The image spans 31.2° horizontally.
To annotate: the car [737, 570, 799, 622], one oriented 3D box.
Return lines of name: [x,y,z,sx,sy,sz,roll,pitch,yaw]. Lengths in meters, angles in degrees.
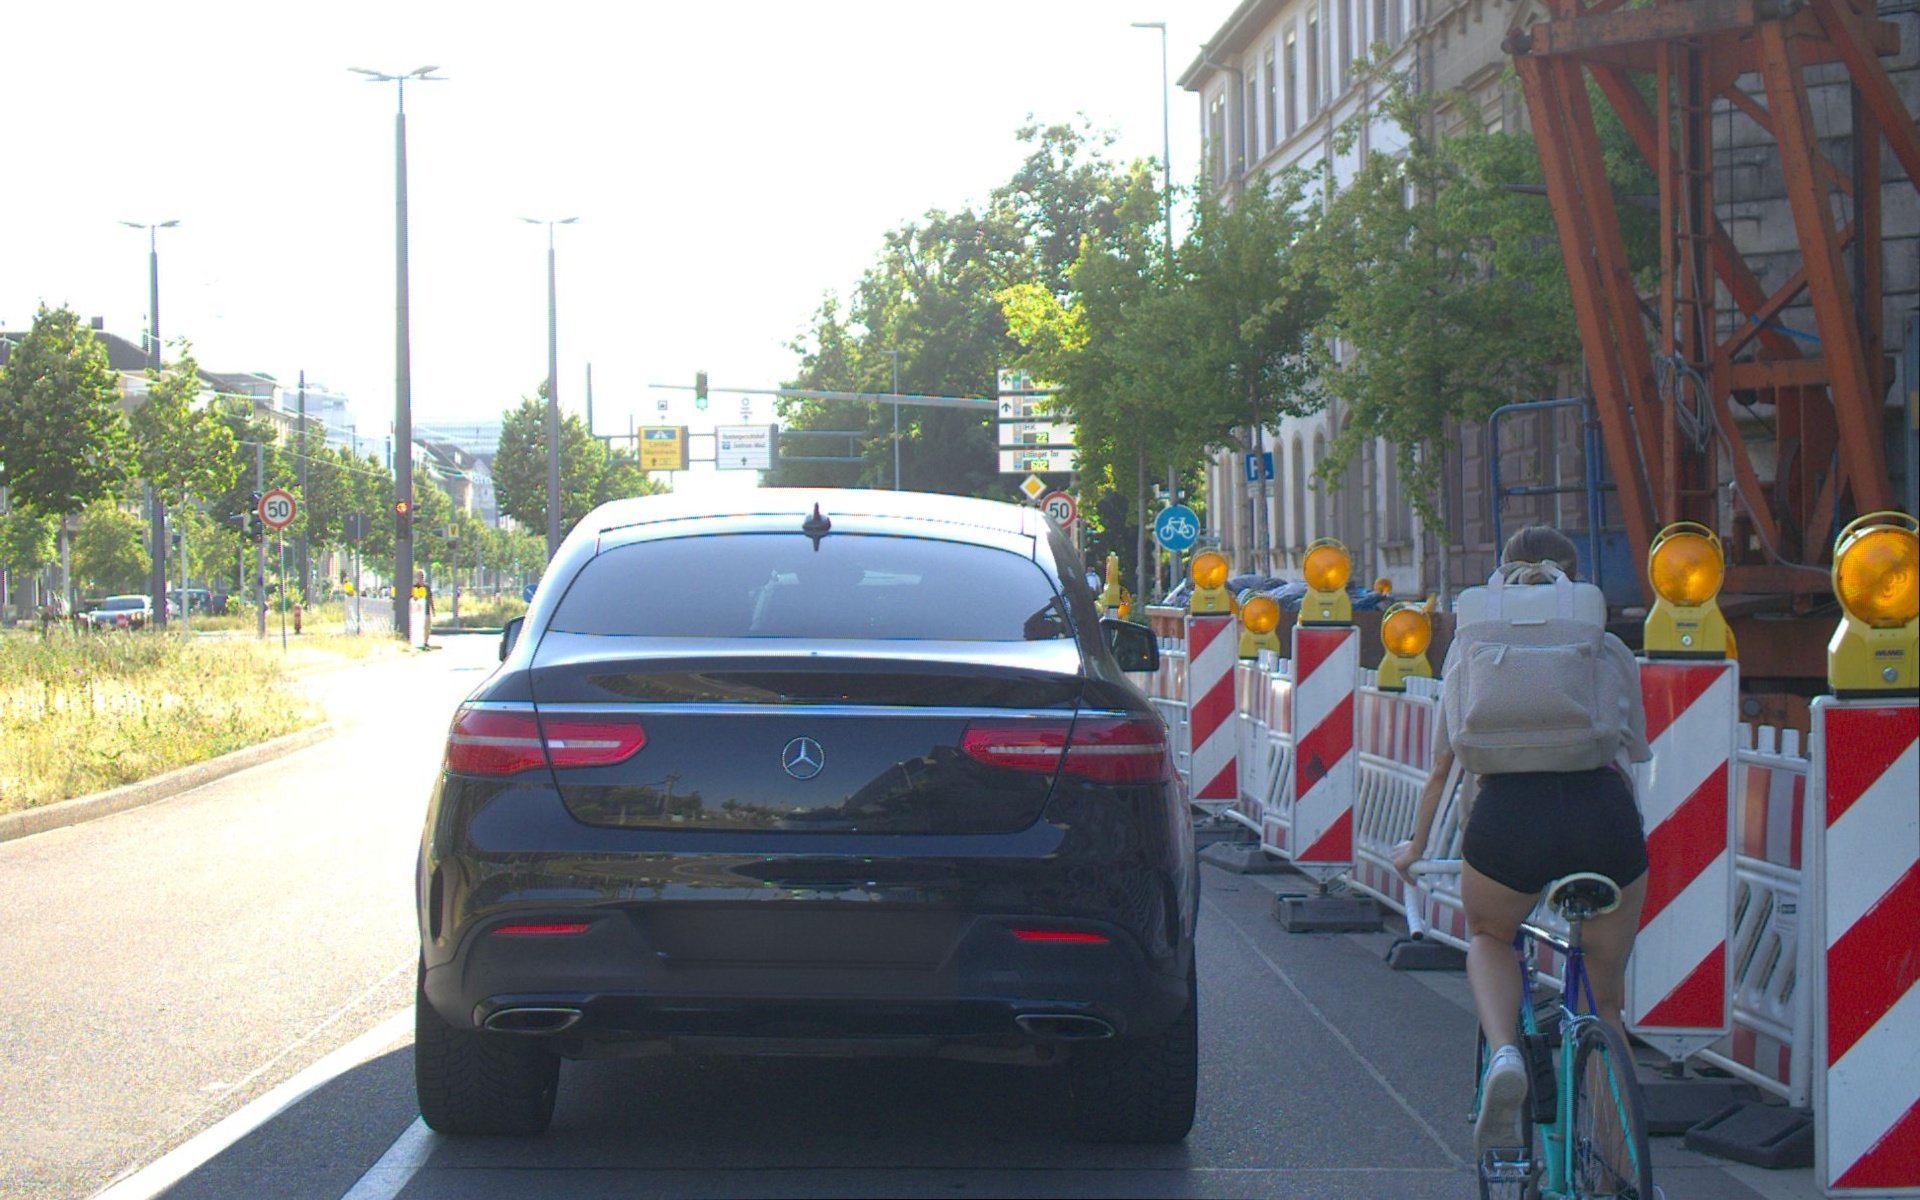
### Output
car: [-5.431,-0.130,97.607,1.708,1.437,3.583,1,0,-3]

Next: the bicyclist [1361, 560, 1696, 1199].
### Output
bicyclist: [1.118,0.621,6.852,0.522,1.391,0.615,1,0,-3]

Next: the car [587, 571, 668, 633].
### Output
car: [-7.851,0.037,81.425,1.708,1.437,3.583,1,0,-3]

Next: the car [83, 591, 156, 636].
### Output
car: [-27.927,0.425,114.291,1.708,1.437,3.583,1,0,-3]

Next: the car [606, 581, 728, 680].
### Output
car: [-4.443,0.439,52.521,1.708,1.437,3.583,0,1,-3]

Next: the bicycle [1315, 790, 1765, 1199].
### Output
bicycle: [1.112,0.960,6.922,0.512,1.048,1.725,1,0,-3]

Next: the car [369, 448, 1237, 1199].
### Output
car: [-0.383,0.531,9.966,1.993,1.766,4.000,1,0,-1]

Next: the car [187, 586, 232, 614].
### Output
car: [-39.116,-0.018,179.227,1.708,1.437,3.583,1,0,-3]
